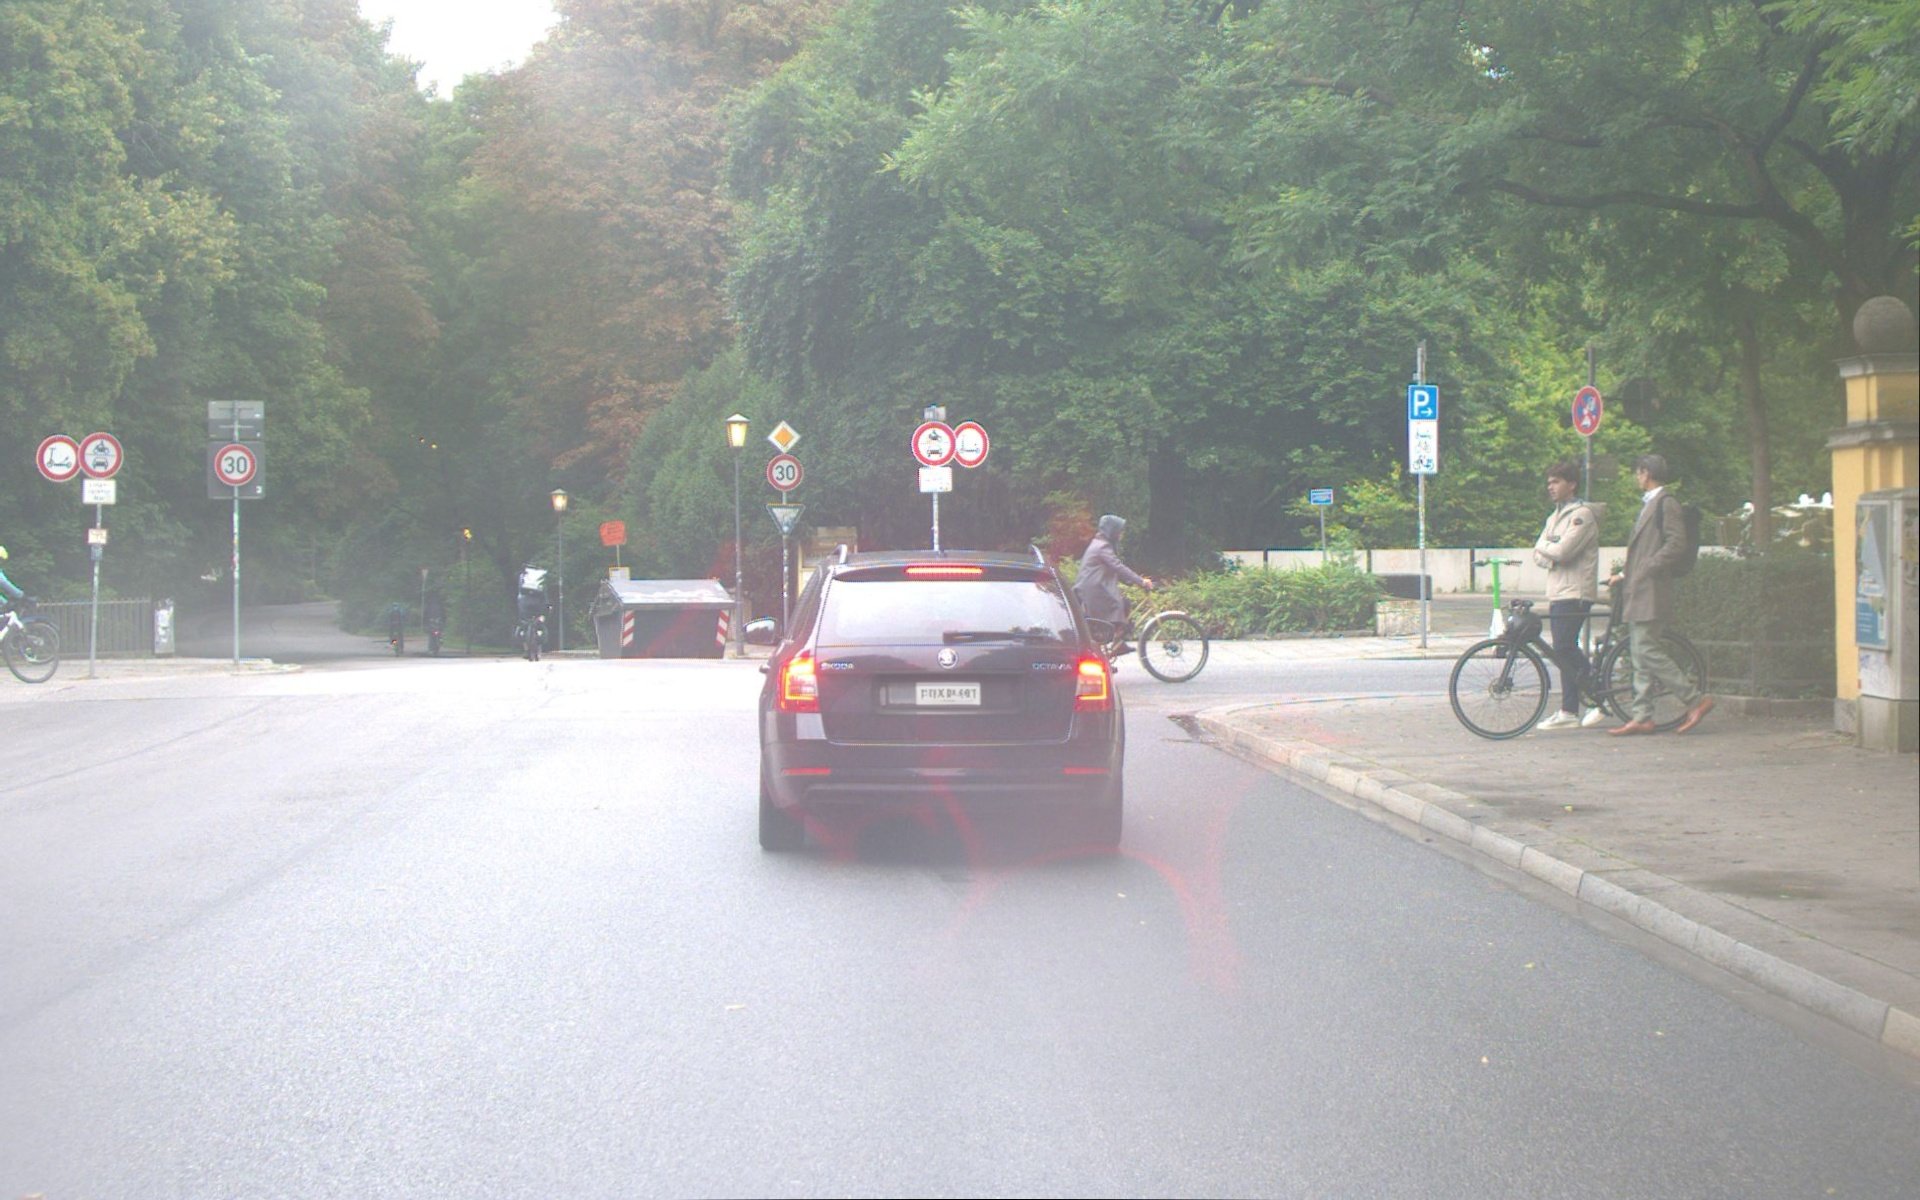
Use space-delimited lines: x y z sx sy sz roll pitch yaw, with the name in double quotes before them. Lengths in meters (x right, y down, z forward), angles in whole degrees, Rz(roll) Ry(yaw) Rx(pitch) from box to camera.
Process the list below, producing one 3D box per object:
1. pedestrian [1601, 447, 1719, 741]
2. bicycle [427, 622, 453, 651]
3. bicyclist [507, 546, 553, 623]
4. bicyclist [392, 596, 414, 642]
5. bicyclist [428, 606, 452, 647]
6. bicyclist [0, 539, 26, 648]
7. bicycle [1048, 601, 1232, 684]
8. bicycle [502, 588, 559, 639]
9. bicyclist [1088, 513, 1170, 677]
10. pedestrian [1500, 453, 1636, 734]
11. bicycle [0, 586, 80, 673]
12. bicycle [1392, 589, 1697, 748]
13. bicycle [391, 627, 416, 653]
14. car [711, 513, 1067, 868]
"pedestrian" 4.657 -0.041 22.886 0.541 1.912 0.492 -3 0 -10
"bicycle" -15.390 1.085 101.764 0.679 0.827 2.110 -1 0 -11
"bicyclist" -7.211 -0.261 57.702 0.680 1.278 0.599 -1 1 0
"bicyclist" -18.455 0.618 113.893 0.680 1.499 0.901 -1 1 -12
"bicyclist" -15.397 0.774 101.783 0.680 1.183 0.481 -1 1 -11
"bicyclist" -11.330 -0.071 39.809 0.524 1.253 0.852 -1 0 32
"bicycle" 1.755 0.414 33.630 1.763 0.794 0.570 0 0 0
"bicycle" -7.206 0.226 57.718 0.679 0.827 2.110 -1 0 0
"bicyclist" 1.645 -0.054 33.590 0.750 1.579 0.656 -1 0 0
"pedestrian" 4.240 -0.049 24.014 0.674 1.912 0.641 -3 0 -10
"bicycle" -11.239 0.344 39.880 0.681 0.987 2.106 -1 0 32
"bicycle" 3.963 0.457 23.330 1.905 0.946 0.582 -4 1 -9
"bicycle" -18.429 1.317 113.791 0.679 0.827 2.110 -1 0 -12
"car" -0.329 0.374 17.452 1.577 1.578 4.044 -1 1 0
